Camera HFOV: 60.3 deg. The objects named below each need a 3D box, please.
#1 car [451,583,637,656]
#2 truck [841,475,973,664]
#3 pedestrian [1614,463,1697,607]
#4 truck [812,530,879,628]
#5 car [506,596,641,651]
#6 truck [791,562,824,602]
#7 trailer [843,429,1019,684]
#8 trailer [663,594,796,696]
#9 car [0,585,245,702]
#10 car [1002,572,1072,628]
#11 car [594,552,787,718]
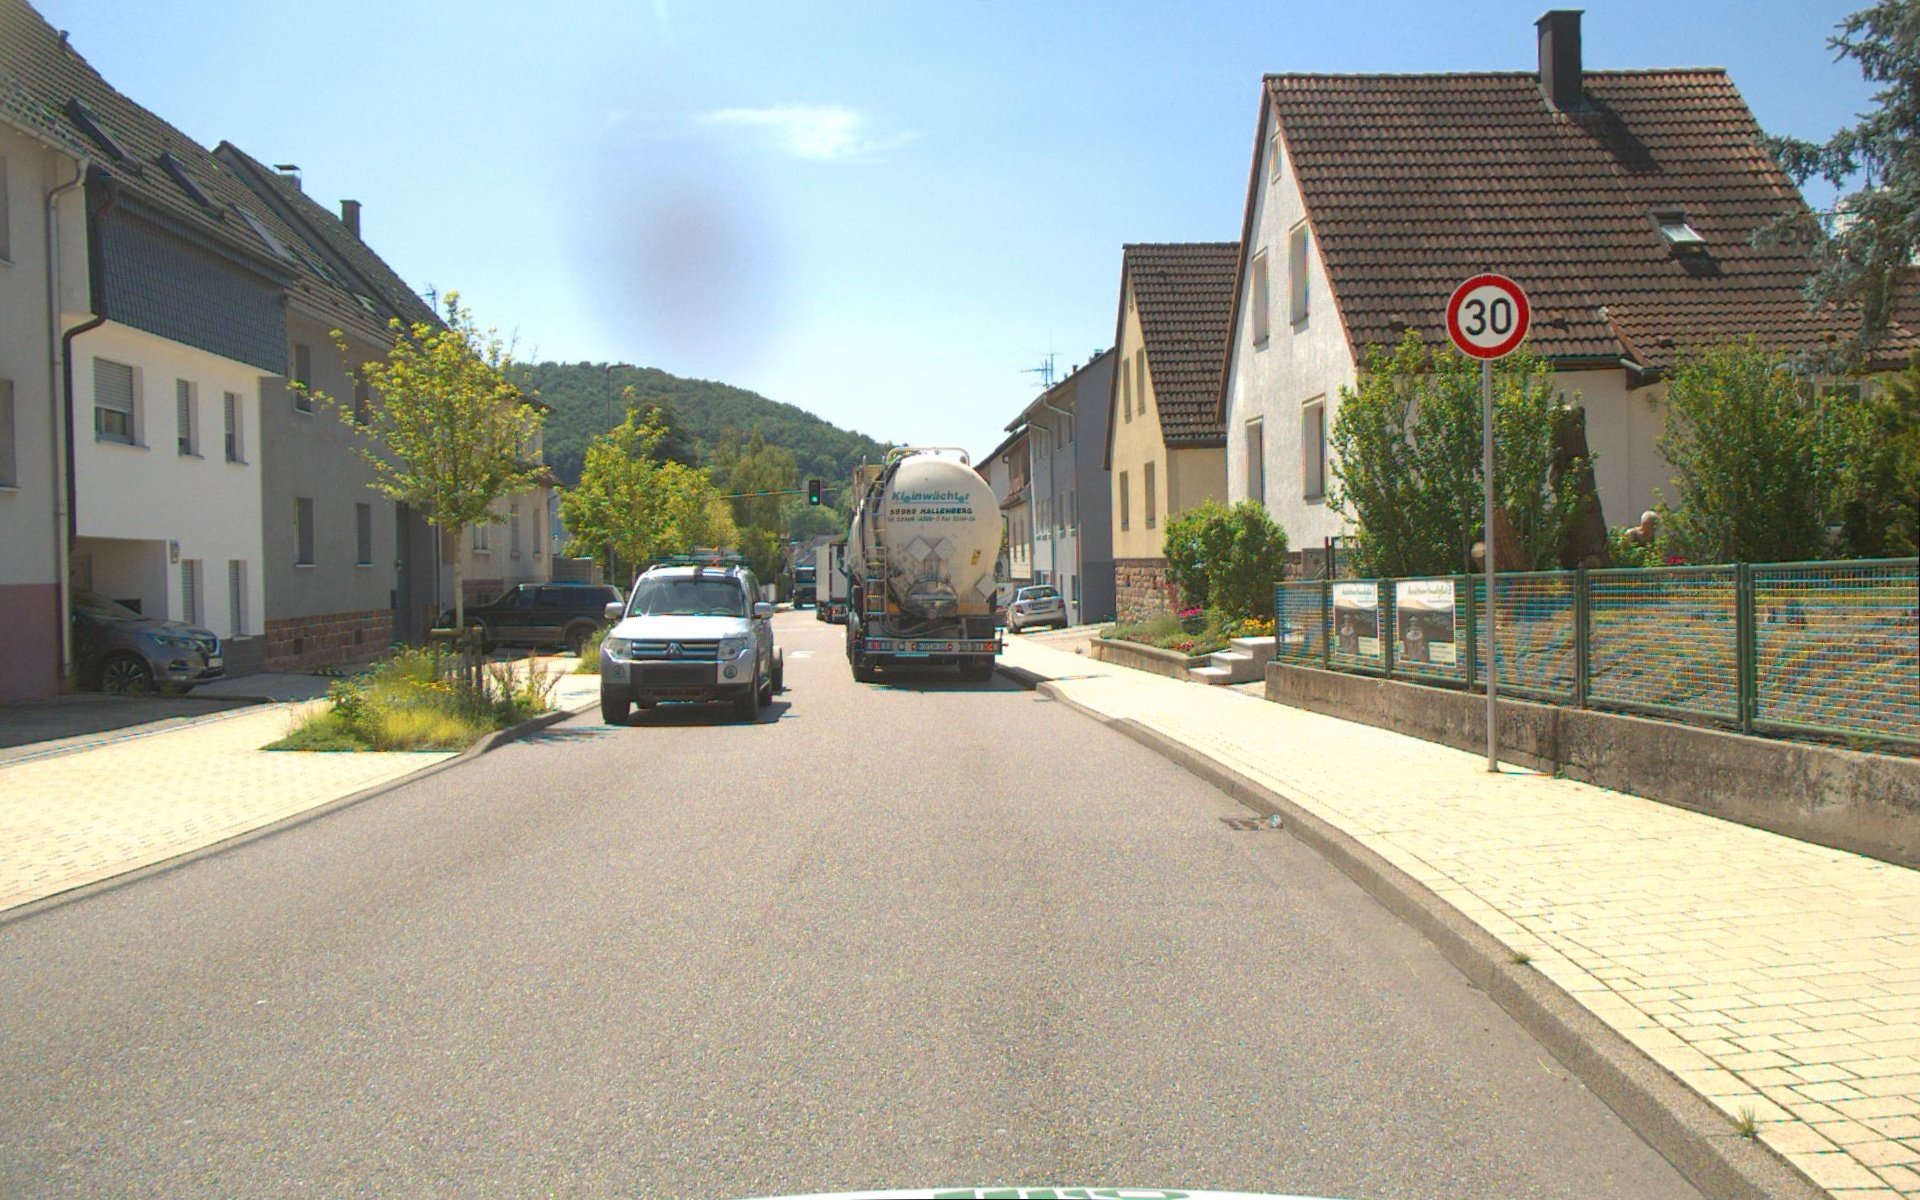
[{"bbox_3d":[-10.511,0.475,42.076,4.308,1.781,1.876,0,0,-5],"label":"car"},{"bbox_3d":[-1.341,-0.658,38.290,2.753,4.006,6.093,0,0,-4],"label":"truck"},{"bbox_3d":[8.241,-0.762,19.620,0.592,1.643,0.552,-5,0,-4],"label":"pedestrian"},{"bbox_3d":[-6.150,-0.958,87.521,2.793,4.761,11.319,1,-1,-7],"label":"truck"},{"bbox_3d":[-10.805,0.648,46.244,3.474,1.464,1.695,-1,0,31],"label":"car"},{"bbox_3d":[-13.364,-1.532,145.263,2.675,3.430,8.627,0,0,-4],"label":"truck"},{"bbox_3d":[-0.820,-0.705,31.692,2.741,4.071,10.314,0,0,-4],"label":"trailer"},{"bbox_3d":[-3.470,0.633,25.559,1.543,1.420,4.401,-1,0,-2],"label":"trailer"},{"bbox_3d":[-12.353,0.577,23.129,3.908,1.572,1.831,0,0,-4],"label":"car"},{"bbox_3d":[2.448,-0.015,53.423,1.755,1.567,4.517,-5,0,-2],"label":"car"},{"bbox_3d":[-3.317,0.411,21.171,1.851,1.893,4.576,0,0,-2],"label":"car"}]
